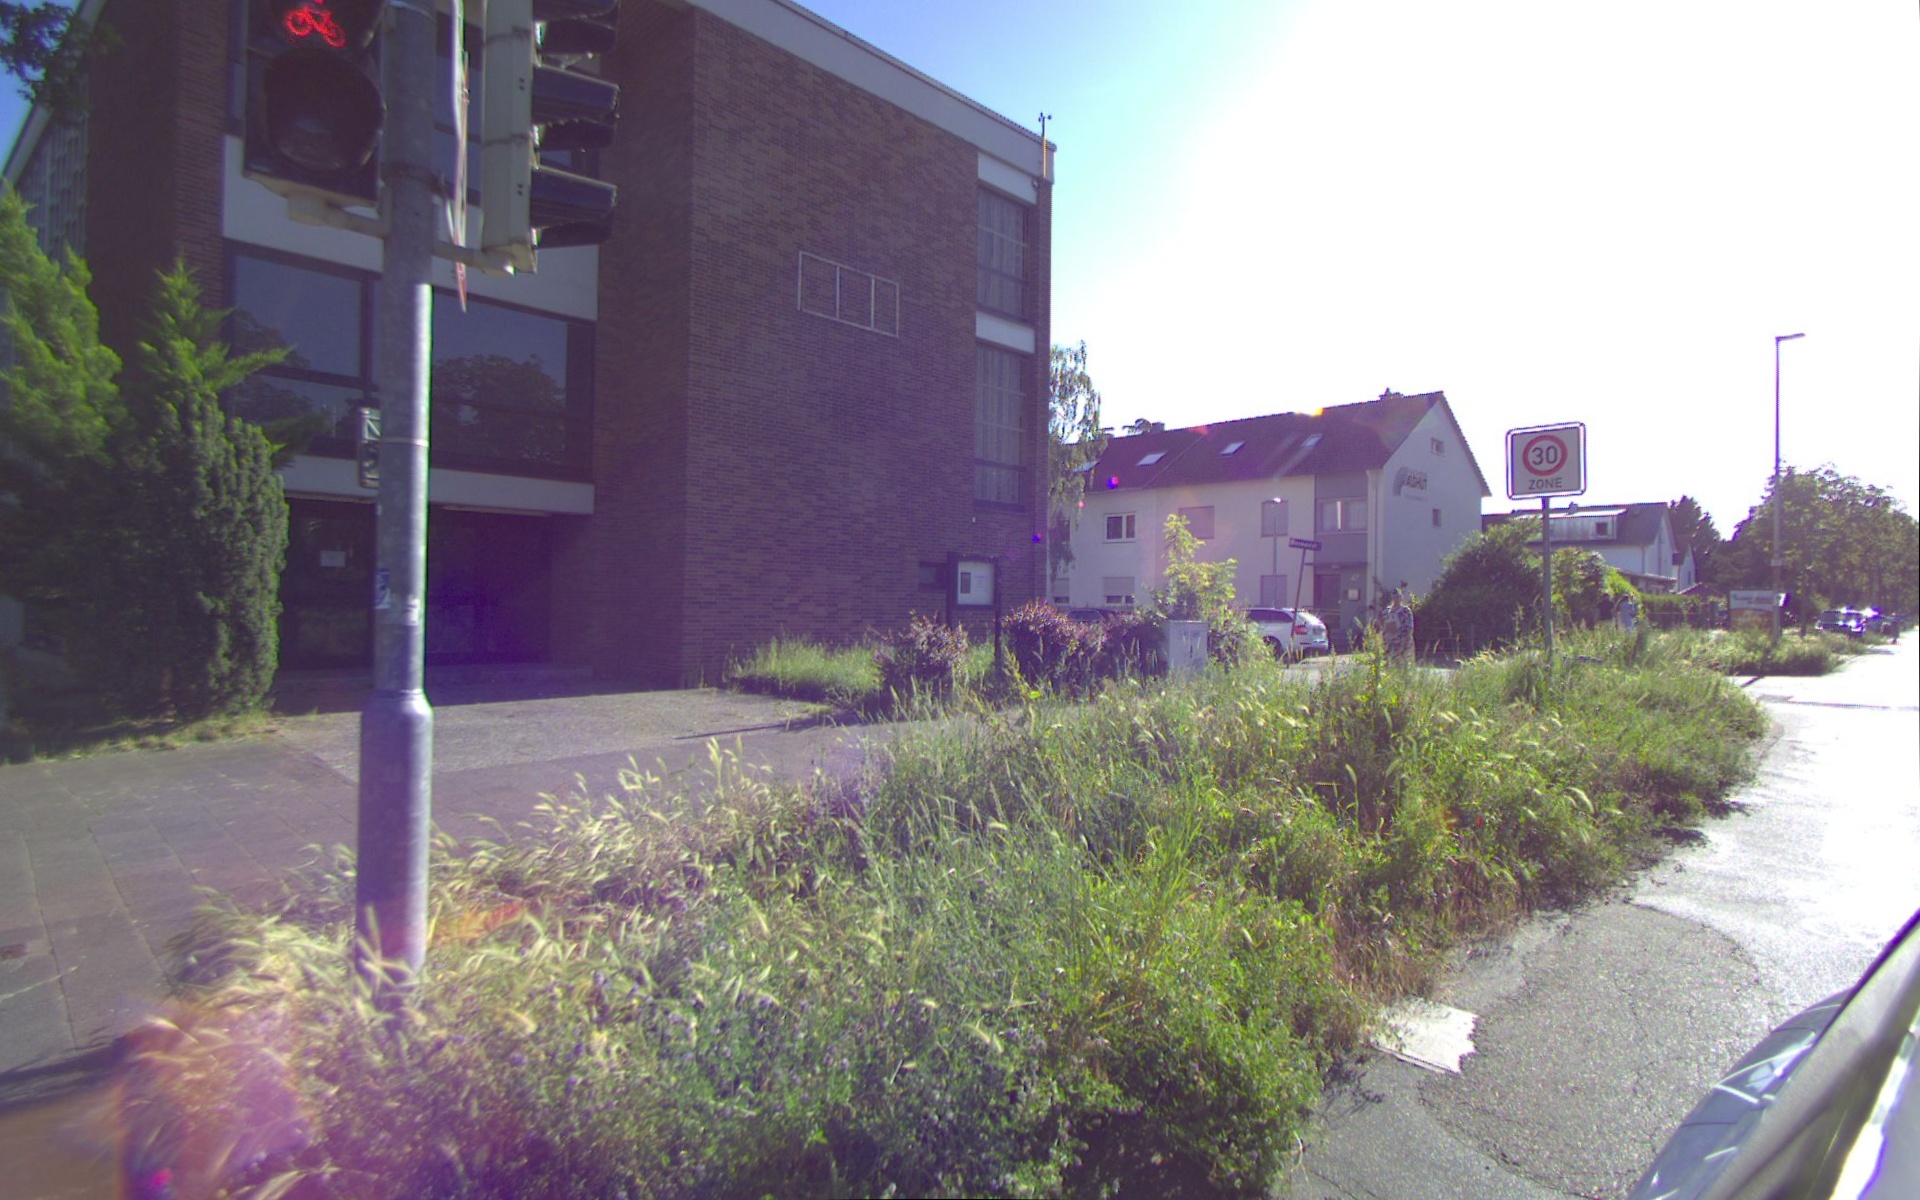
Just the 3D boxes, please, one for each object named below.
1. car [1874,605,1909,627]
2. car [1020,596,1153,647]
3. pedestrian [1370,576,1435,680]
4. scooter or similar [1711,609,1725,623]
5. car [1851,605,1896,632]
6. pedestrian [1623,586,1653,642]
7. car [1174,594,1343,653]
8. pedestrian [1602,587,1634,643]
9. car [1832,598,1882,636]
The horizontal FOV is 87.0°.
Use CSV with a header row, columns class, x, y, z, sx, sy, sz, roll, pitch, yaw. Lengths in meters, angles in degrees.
class,x,y,z,sx,sy,sz,roll,pitch,yaw
car,65.156,1.122,70.775,1.729,1.500,3.796,2,0,44
car,3.975,0.651,32.243,1.776,1.522,3.945,2,-1,-44
pedestrian,8.028,0.496,18.369,0.898,1.845,0.726,-1,-1,40
scooter or similar,42.658,0.892,56.980,0.449,0.725,1.209,6,4,43
car,57.693,1.141,63.904,3.792,1.597,1.731,1,1,-43
pedestrian,21.495,0.446,32.089,0.648,1.754,0.556,0,-1,-29
car,8.229,0.613,28.135,1.776,1.522,4.196,2,-1,-44
pedestrian,21.209,0.479,32.615,0.626,1.755,0.608,0,-1,-29
car,39.190,0.735,44.201,1.493,1.594,3.543,0,0,44
